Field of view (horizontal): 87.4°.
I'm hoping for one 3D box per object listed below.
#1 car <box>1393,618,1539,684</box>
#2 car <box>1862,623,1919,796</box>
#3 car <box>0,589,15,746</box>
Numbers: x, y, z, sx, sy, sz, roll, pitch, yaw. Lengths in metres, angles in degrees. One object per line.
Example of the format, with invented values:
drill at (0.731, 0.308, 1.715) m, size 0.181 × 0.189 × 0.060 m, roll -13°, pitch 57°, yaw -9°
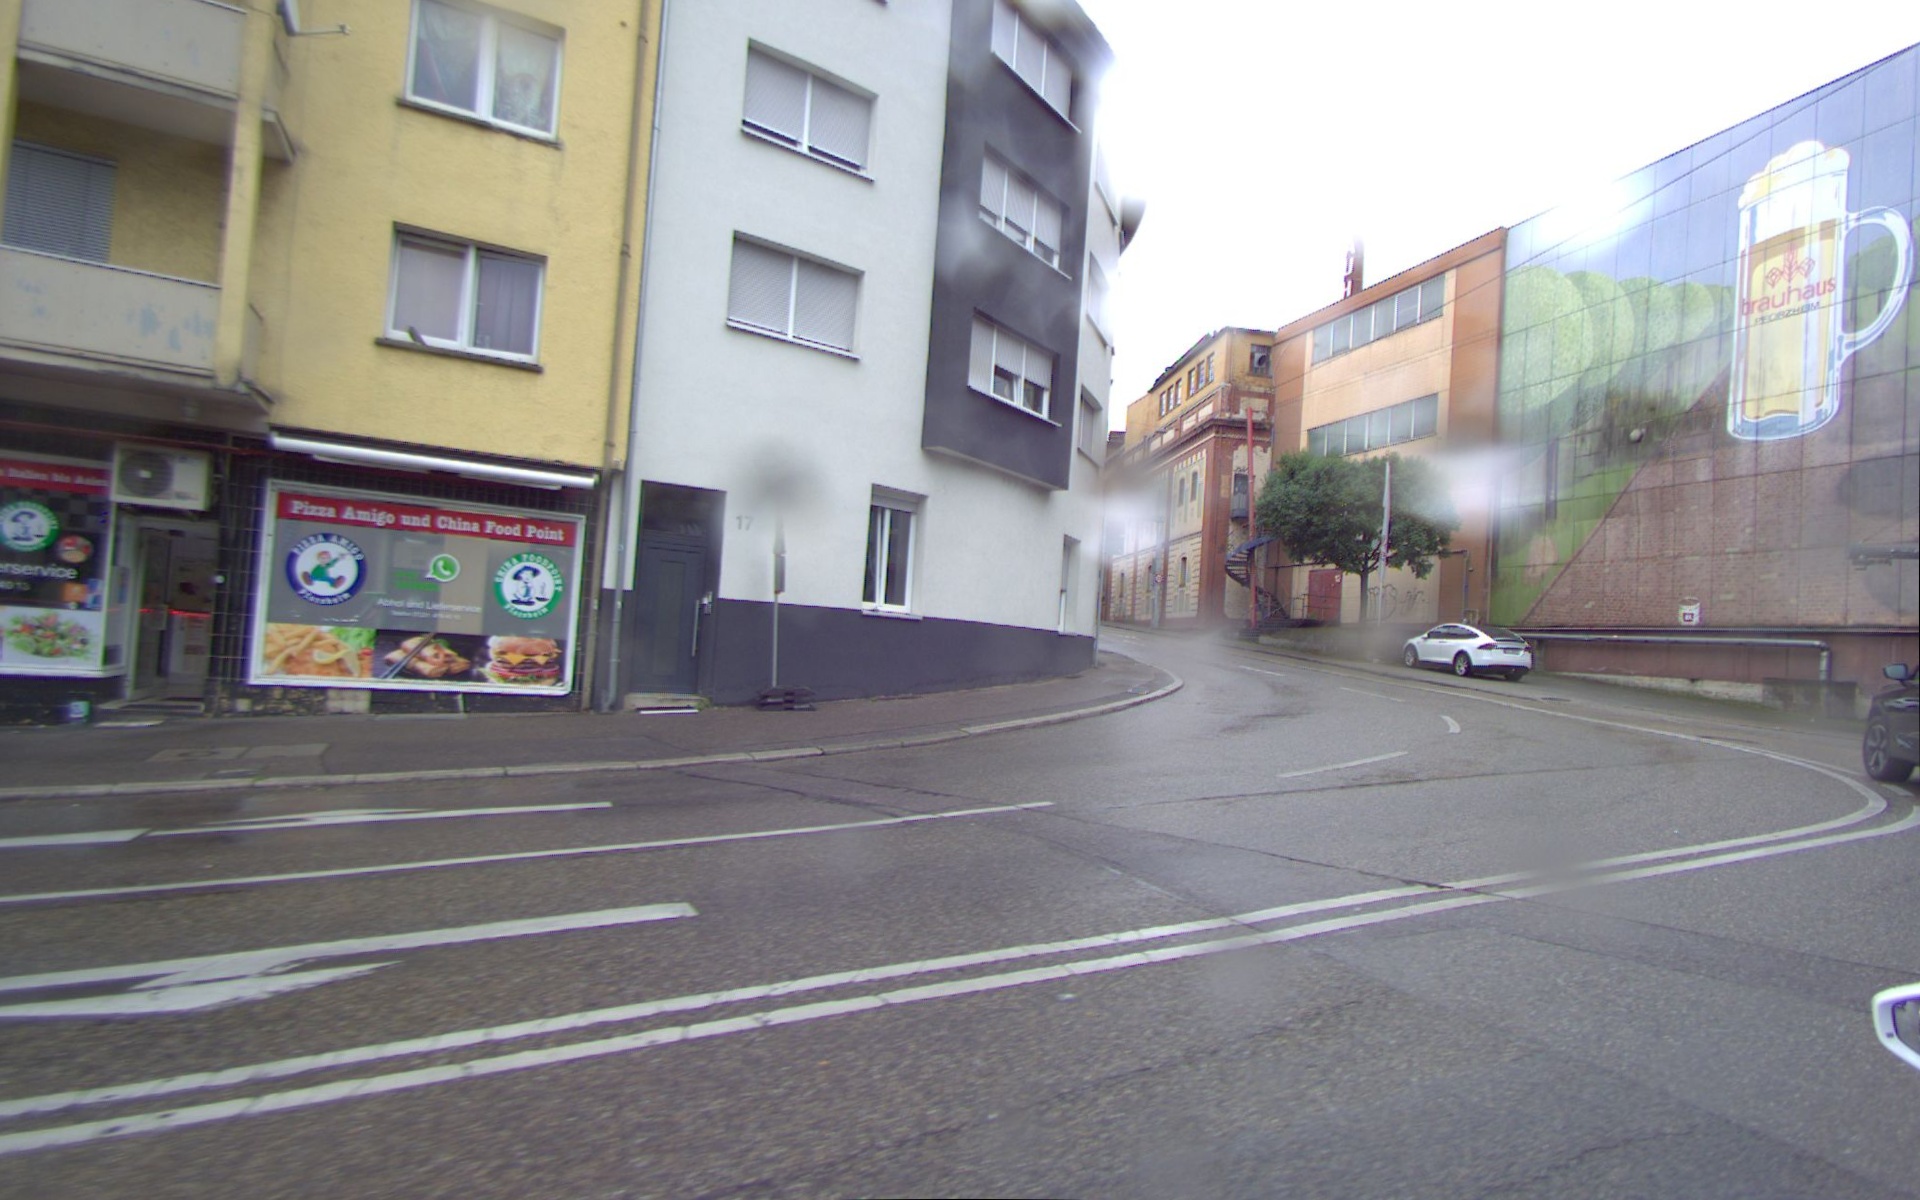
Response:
car at (16.700, 1.623, 33.488) m, size 1.825 × 1.639 × 4.908 m, roll 4°, pitch 2°, yaw -7°
car at (9.912, 1.044, 9.148) m, size 1.854 × 1.615 × 3.912 m, roll 1°, pitch -2°, yaw 32°
car at (-10.416, 0.601, 8.256) m, size 3.487 × 1.484 × 1.604 m, roll 2°, pitch 1°, yaw -26°
